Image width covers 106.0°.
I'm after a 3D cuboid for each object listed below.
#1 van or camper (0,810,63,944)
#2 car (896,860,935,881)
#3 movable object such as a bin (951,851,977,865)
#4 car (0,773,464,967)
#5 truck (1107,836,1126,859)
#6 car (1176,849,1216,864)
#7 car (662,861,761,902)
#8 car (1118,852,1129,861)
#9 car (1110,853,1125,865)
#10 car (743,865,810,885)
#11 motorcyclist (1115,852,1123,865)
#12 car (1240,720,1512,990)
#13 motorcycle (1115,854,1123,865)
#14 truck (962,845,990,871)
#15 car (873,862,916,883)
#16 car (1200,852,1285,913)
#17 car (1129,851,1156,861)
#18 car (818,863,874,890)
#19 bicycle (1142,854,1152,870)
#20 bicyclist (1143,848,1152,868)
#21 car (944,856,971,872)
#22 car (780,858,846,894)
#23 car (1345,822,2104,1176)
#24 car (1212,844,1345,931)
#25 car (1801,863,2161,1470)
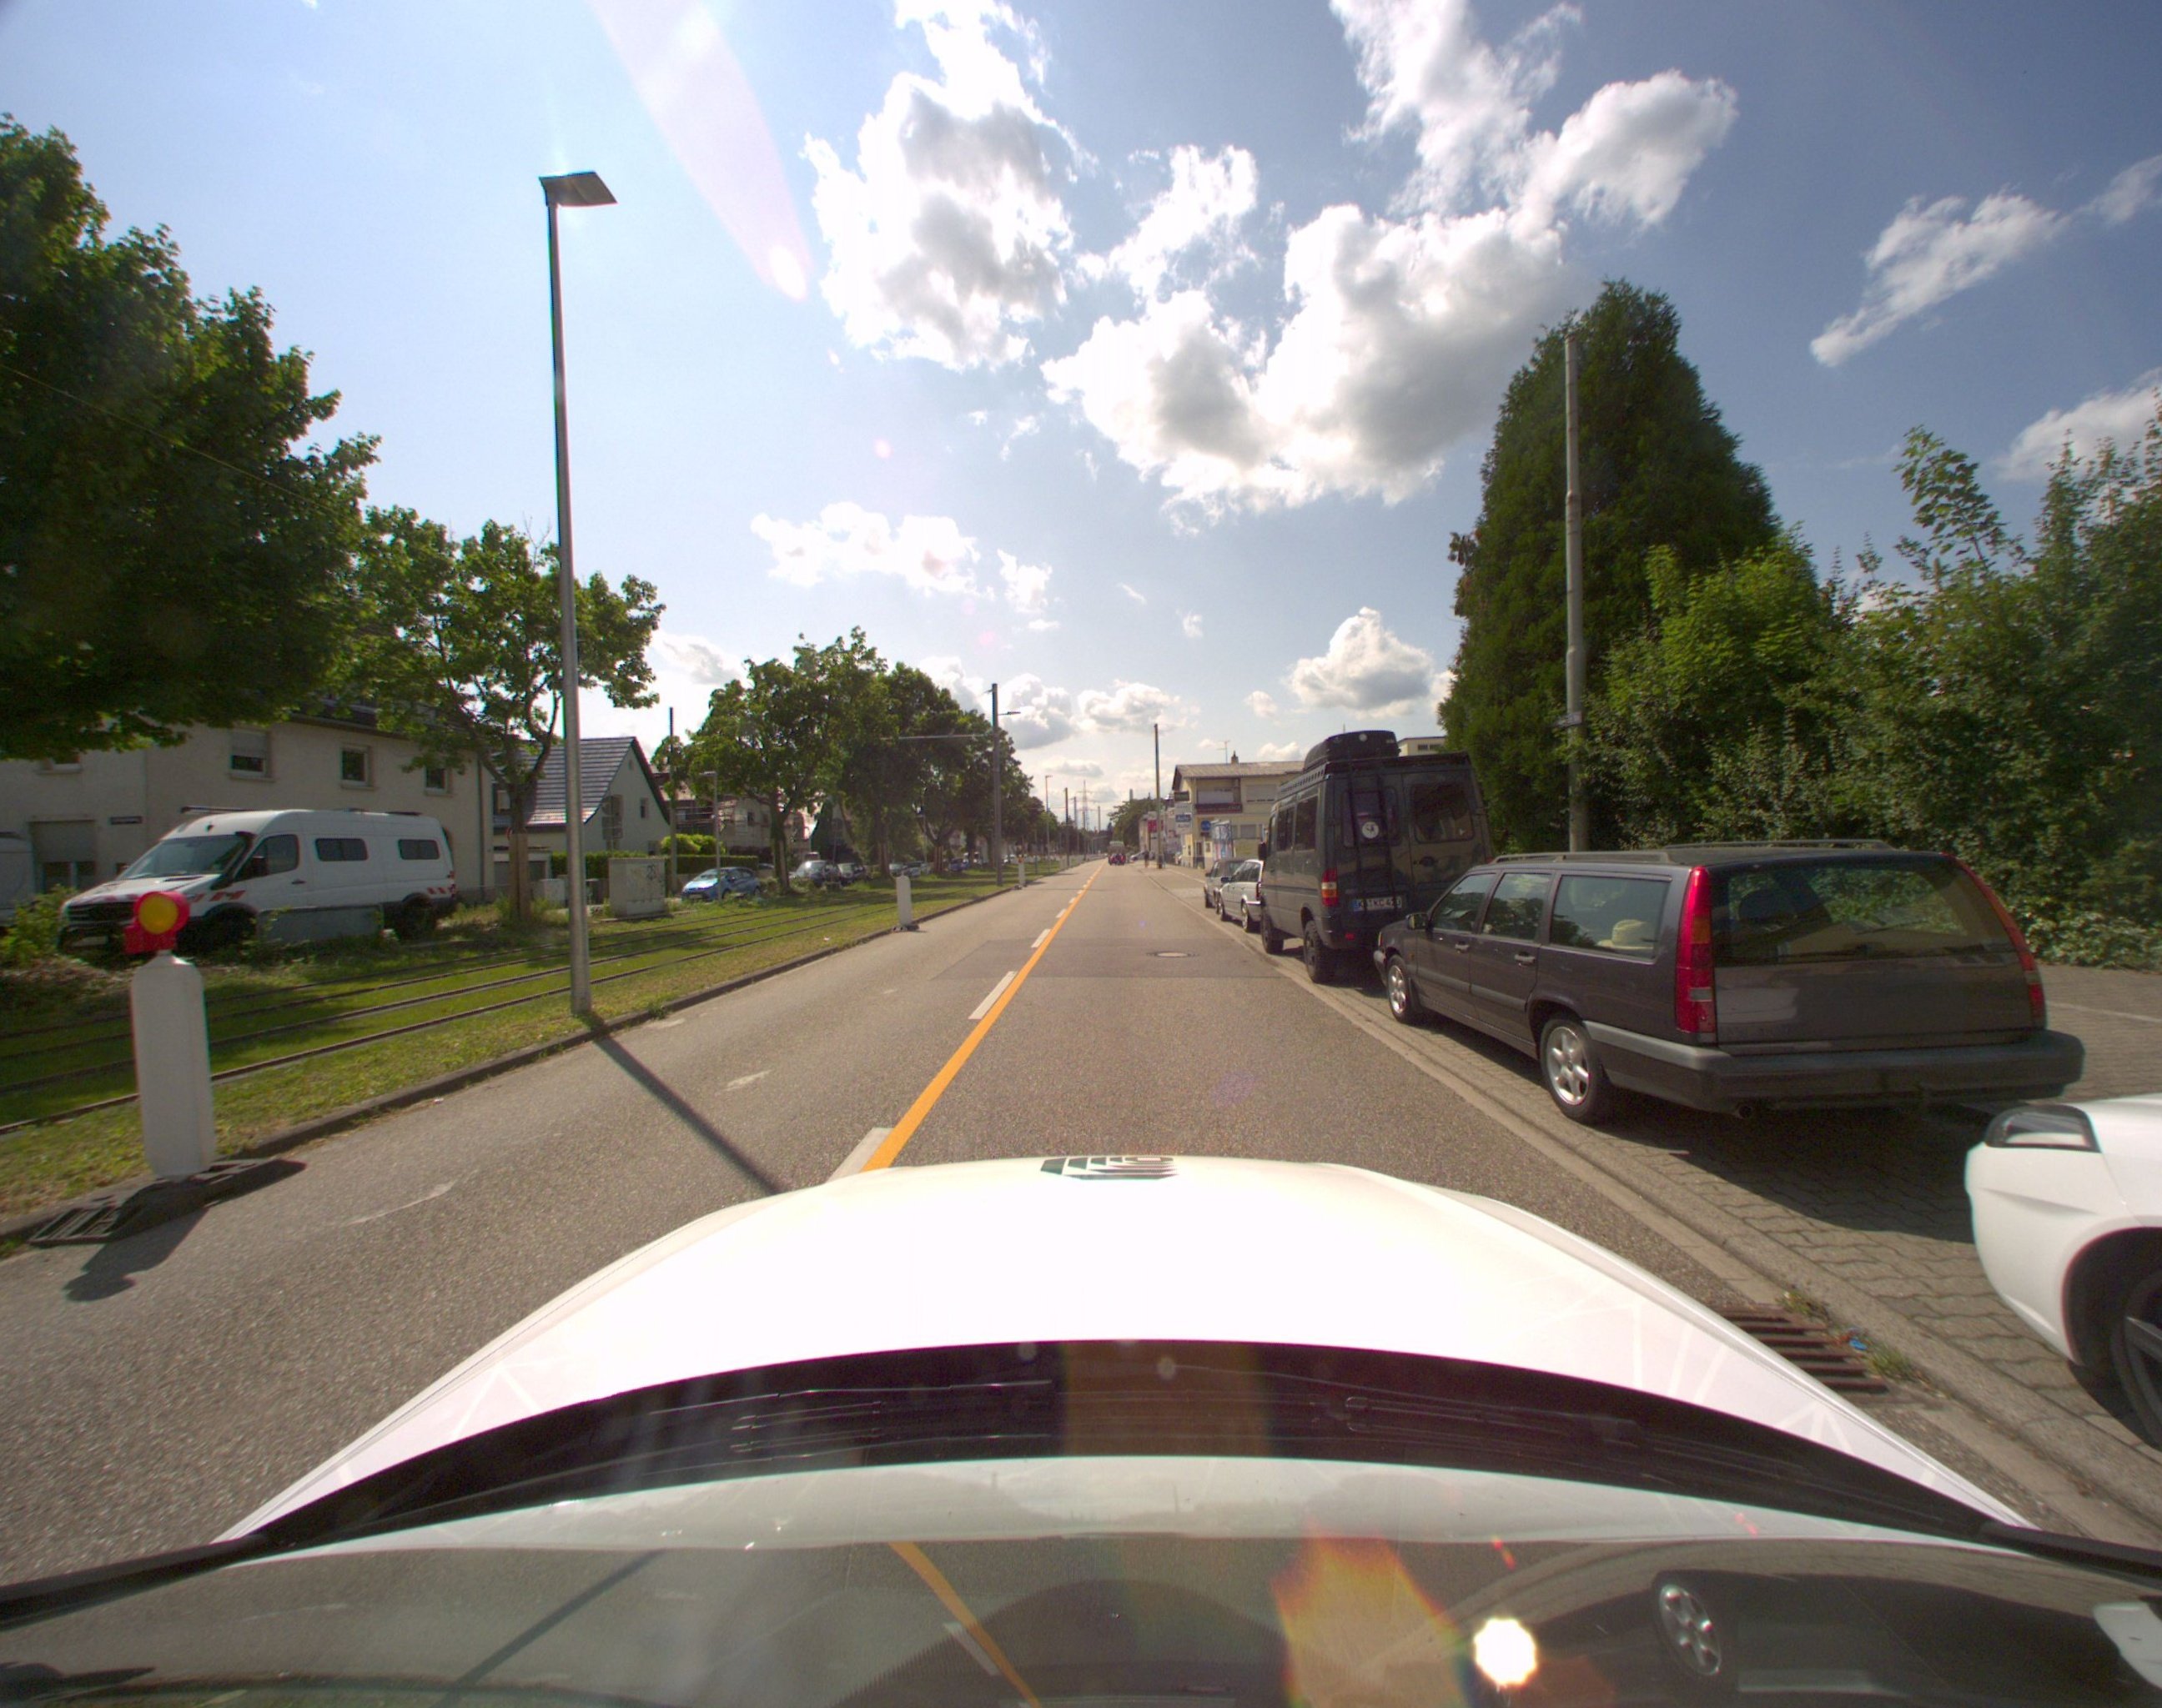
[{"bbox_3d":[-29.397,0.674,19.523,6.702,3.221,2.636,-2,0,1],"label":"van or camper"},{"bbox_3d":[-12.999,1.284,64.227,1.797,1.482,4.943,-3,-1,3],"label":"car"},{"bbox_3d":[-21.098,0.739,146.446,4.350,2.449,1.777,-2,0,-20],"label":"movable object such as a bin"},{"bbox_3d":[-14.874,0.231,14.976,1.987,2.730,6.462,-3,0,0],"label":"car"},{"bbox_3d":[5.316,-1.029,121.075,2.599,3.255,9.190,-3,1,3],"label":"truck"},{"bbox_3d":[12.449,0.308,88.245,4.159,1.431,1.825,-2,-1,9],"label":"car"},{"bbox_3d":[-14.214,1.013,31.565,1.746,1.436,3.894,-3,-1,4],"label":"car"},{"bbox_3d":[7.021,0.454,134.046,1.814,1.464,4.003,-1,0,3],"label":"car"},{"bbox_3d":[4.682,0.656,104.892,1.814,1.424,4.002,-1,0,2],"label":"car"},{"bbox_3d":[-21.710,1.482,58.115,3.971,1.401,1.983,-1,-1,2],"label":"car"},{"bbox_3d":[4.657,0.551,100.233,0.935,1.615,1.205,0,-1,2],"label":"motorcyclist"},{"bbox_3d":[3.593,0.018,11.062,1.988,2.760,4.881,-3,0,2],"label":"car"},{"bbox_3d":[4.661,0.705,100.413,0.935,1.320,2.646,0,0,2],"label":"motorcycle"},{"bbox_3d":[-11.903,0.419,92.735,1.986,2.767,6.280,-5,0,2],"label":"truck"},{"bbox_3d":[-13.363,1.314,58.577,1.986,1.318,3.854,-4,-1,2],"label":"car"},{"bbox_3d":[4.249,0.713,21.944,1.644,1.431,4.100,-3,-1,3],"label":"car"},{"bbox_3d":[10.733,0.342,142.205,4.325,1.551,1.946,-2,-1,-6],"label":"car"},{"bbox_3d":[-13.910,1.304,48.391,1.986,1.439,4.002,-3,-1,2],"label":"car"},{"bbox_3d":[5.838,0.677,72.265,0.690,1.361,2.420,-2,0,2],"label":"bicycle"},{"bbox_3d":[5.876,0.396,72.224,0.668,1.744,0.814,-2,0,2],"label":"bicyclist"},{"bbox_3d":[-12.328,1.031,81.665,1.987,1.453,4.000,-3,-1,0],"label":"car"},{"bbox_3d":[-13.850,1.125,42.365,1.988,1.691,4.389,-2,-1,-1],"label":"car"},{"bbox_3d":[3.464,0.616,5.828,1.714,1.402,4.840,-3,0,2],"label":"car"},{"bbox_3d":[3.958,0.640,17.044,1.686,1.516,4.355,-2,-1,0],"label":"car"},{"bbox_3d":[3.211,0.686,0.616,1.715,1.295,4.130,-3,0,2],"label":"car"}]
